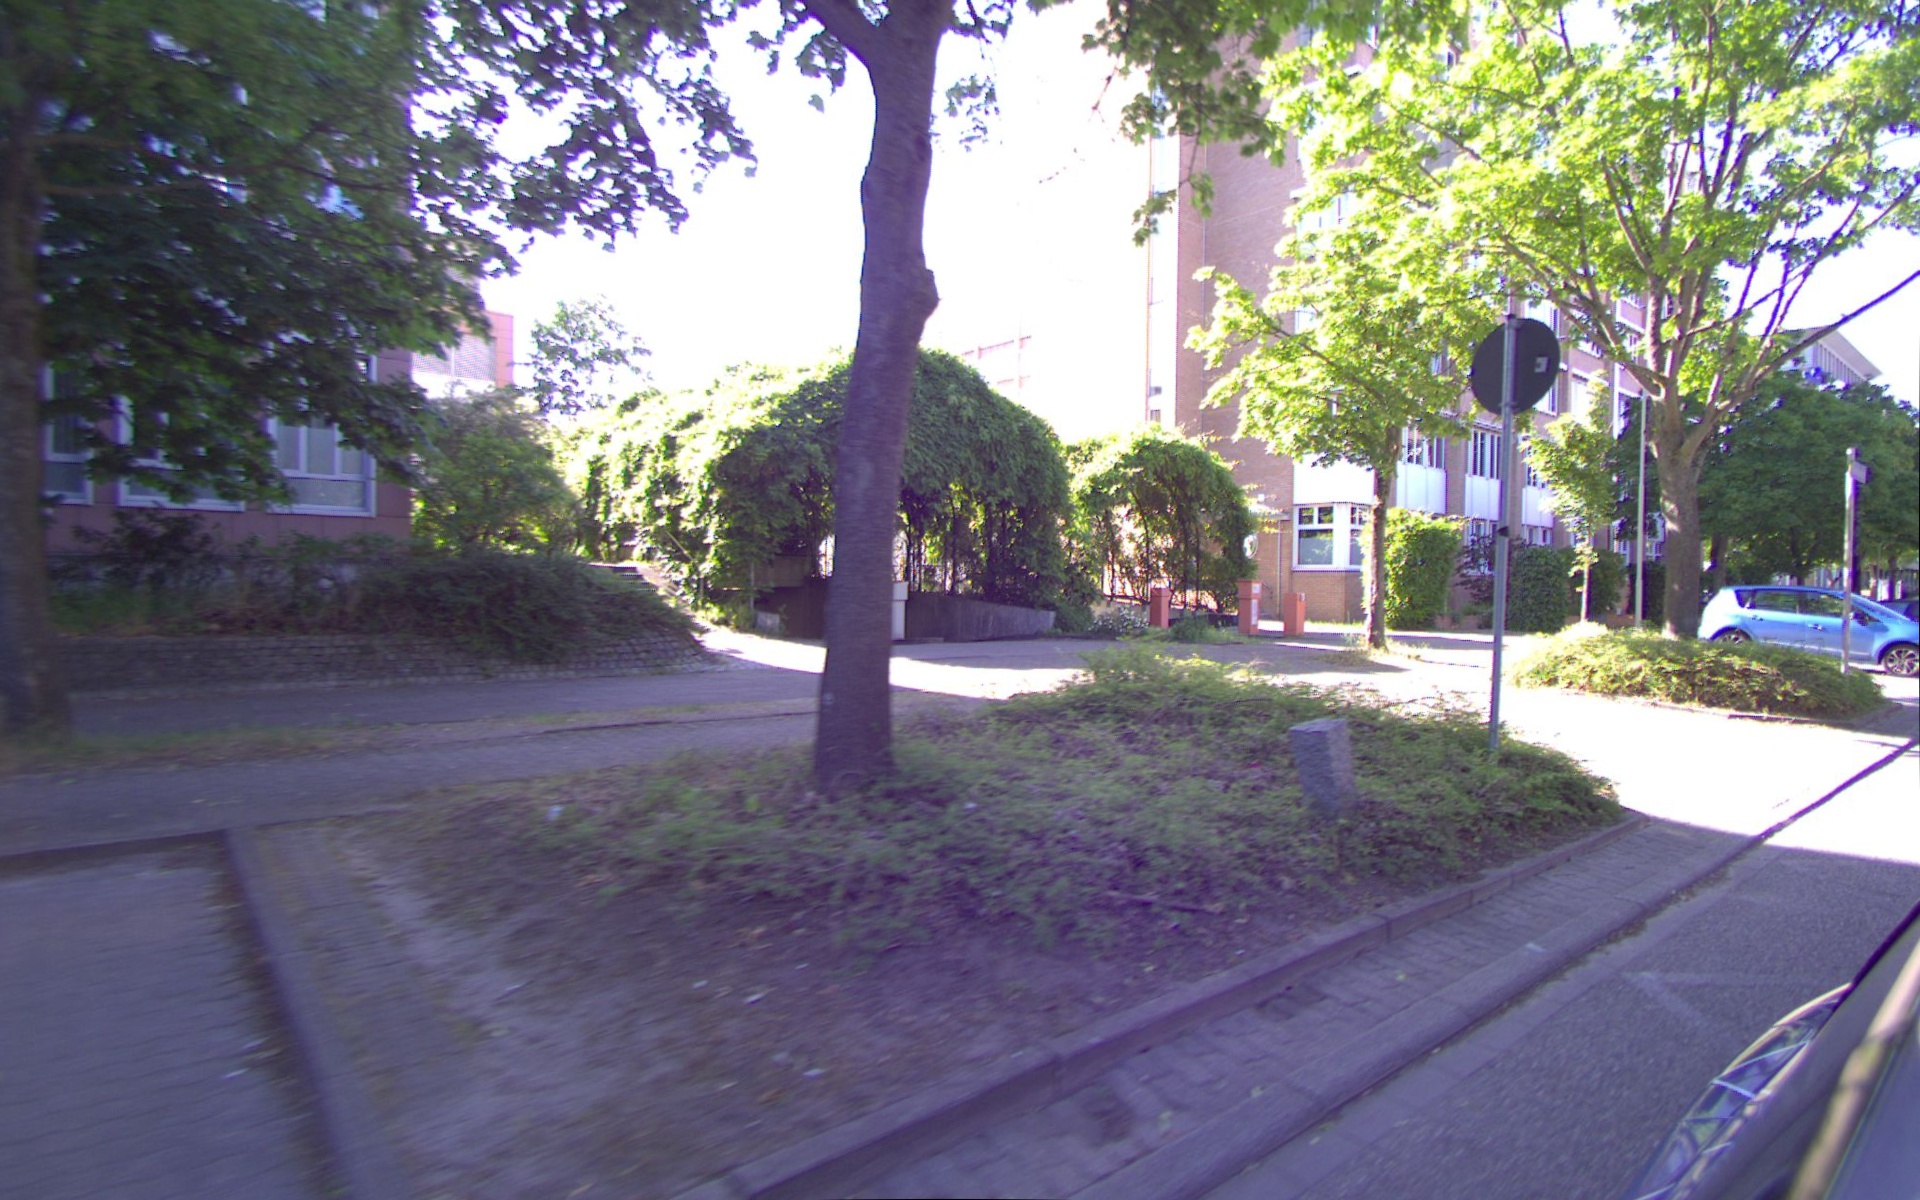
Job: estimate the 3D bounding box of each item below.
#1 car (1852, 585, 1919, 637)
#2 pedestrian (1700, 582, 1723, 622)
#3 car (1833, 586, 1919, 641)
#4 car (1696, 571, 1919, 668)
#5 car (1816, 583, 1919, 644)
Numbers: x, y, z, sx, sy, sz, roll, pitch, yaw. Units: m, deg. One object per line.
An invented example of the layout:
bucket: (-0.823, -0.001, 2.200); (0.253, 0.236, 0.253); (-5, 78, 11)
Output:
car: (31.565, 0.370, 32.454); (4.353, 1.617, 1.909); (3, 2, 44)
pedestrian: (29.558, 0.083, 39.803); (0.584, 1.540, 0.603); (1, 1, -43)
car: (27.494, 0.447, 28.760); (1.672, 1.425, 3.810); (1, 3, -40)
car: (17.957, 0.369, 20.609); (1.878, 1.637, 4.416); (0, 4, -40)
car: (26.087, 0.427, 27.635); (1.792, 1.501, 3.856); (1, 3, -40)
